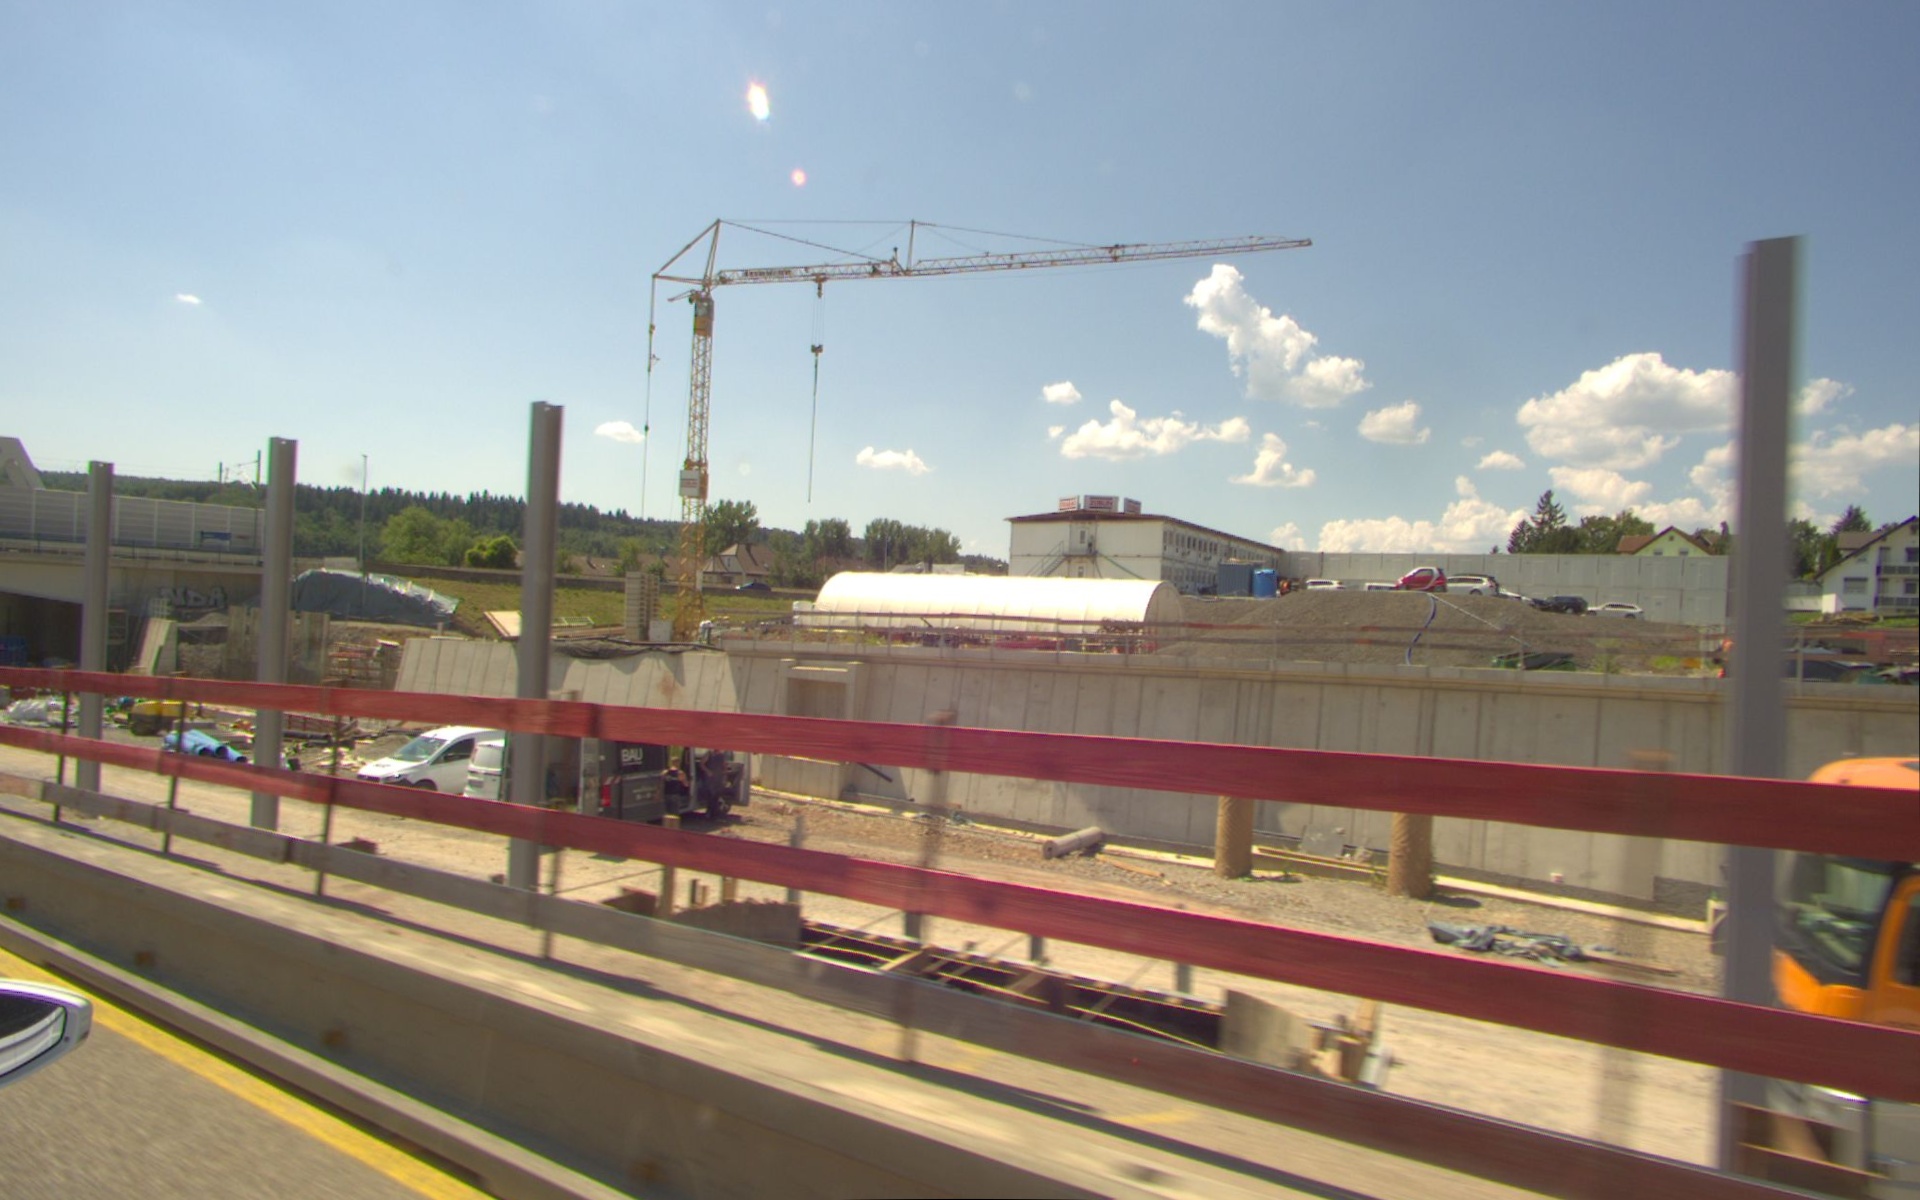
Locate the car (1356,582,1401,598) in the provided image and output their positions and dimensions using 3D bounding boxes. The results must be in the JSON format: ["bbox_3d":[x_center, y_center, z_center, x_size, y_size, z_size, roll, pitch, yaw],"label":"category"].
[{"bbox_3d":[35.084,-0.823,83.949,3.379,1.297,1.512,0,-1,31],"label":"car"}]

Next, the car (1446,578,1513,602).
[{"bbox_3d":[35.518,-0.662,68.506,4.015,1.537,1.706,0,-1,31],"label":"car"}]

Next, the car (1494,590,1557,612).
[{"bbox_3d":[41.803,0.094,74.113,4.015,1.537,1.678,0,-1,31],"label":"car"}]

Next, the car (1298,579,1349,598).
[{"bbox_3d":[27.151,-0.831,74.893,3.379,1.297,1.512,0,-1,31],"label":"car"}]

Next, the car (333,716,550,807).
[{"bbox_3d":[-13.502,4.147,26.406,1.970,1.796,4.725,2,-2,30],"label":"car"}]

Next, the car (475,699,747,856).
[{"bbox_3d":[-7.648,3.786,22.874,2.485,2.618,6.100,2,-2,20],"label":"car"}]

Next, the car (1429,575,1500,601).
[{"bbox_3d":[32.458,-0.749,64.434,4.015,1.537,1.678,0,-1,31],"label":"car"}]

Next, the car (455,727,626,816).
[{"bbox_3d":[-10.514,4.247,25.382,1.738,1.689,3.762,2,-2,25],"label":"car"}]

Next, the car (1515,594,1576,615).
[{"bbox_3d":[45.294,0.347,77.471,4.015,1.537,1.678,0,-1,31],"label":"car"}]

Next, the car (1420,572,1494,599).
[{"bbox_3d":[30.985,-0.891,62.395,4.015,1.537,1.678,0,-1,31],"label":"car"}]

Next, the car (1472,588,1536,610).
[{"bbox_3d":[39.383,-0.066,72.484,4.015,1.537,1.678,0,-1,31],"label":"car"}]

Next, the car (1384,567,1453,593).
[{"bbox_3d":[25.817,-1.123,56.386,3.379,1.333,1.512,0,-1,31],"label":"car"}]

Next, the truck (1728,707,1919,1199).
[{"bbox_3d":[9.504,3.000,7.352,5.794,3.936,2.755,0,-1,31],"label":"truck"}]

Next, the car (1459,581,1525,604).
[{"bbox_3d":[37.428,-0.507,70.453,4.015,1.537,1.711,0,-1,31],"label":"car"}]

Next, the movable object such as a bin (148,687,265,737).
[{"bbox_3d":[-27.058,4.013,36.070,3.059,1.583,1.547,1,-1,-25],"label":"movable object such as a bin"}]
